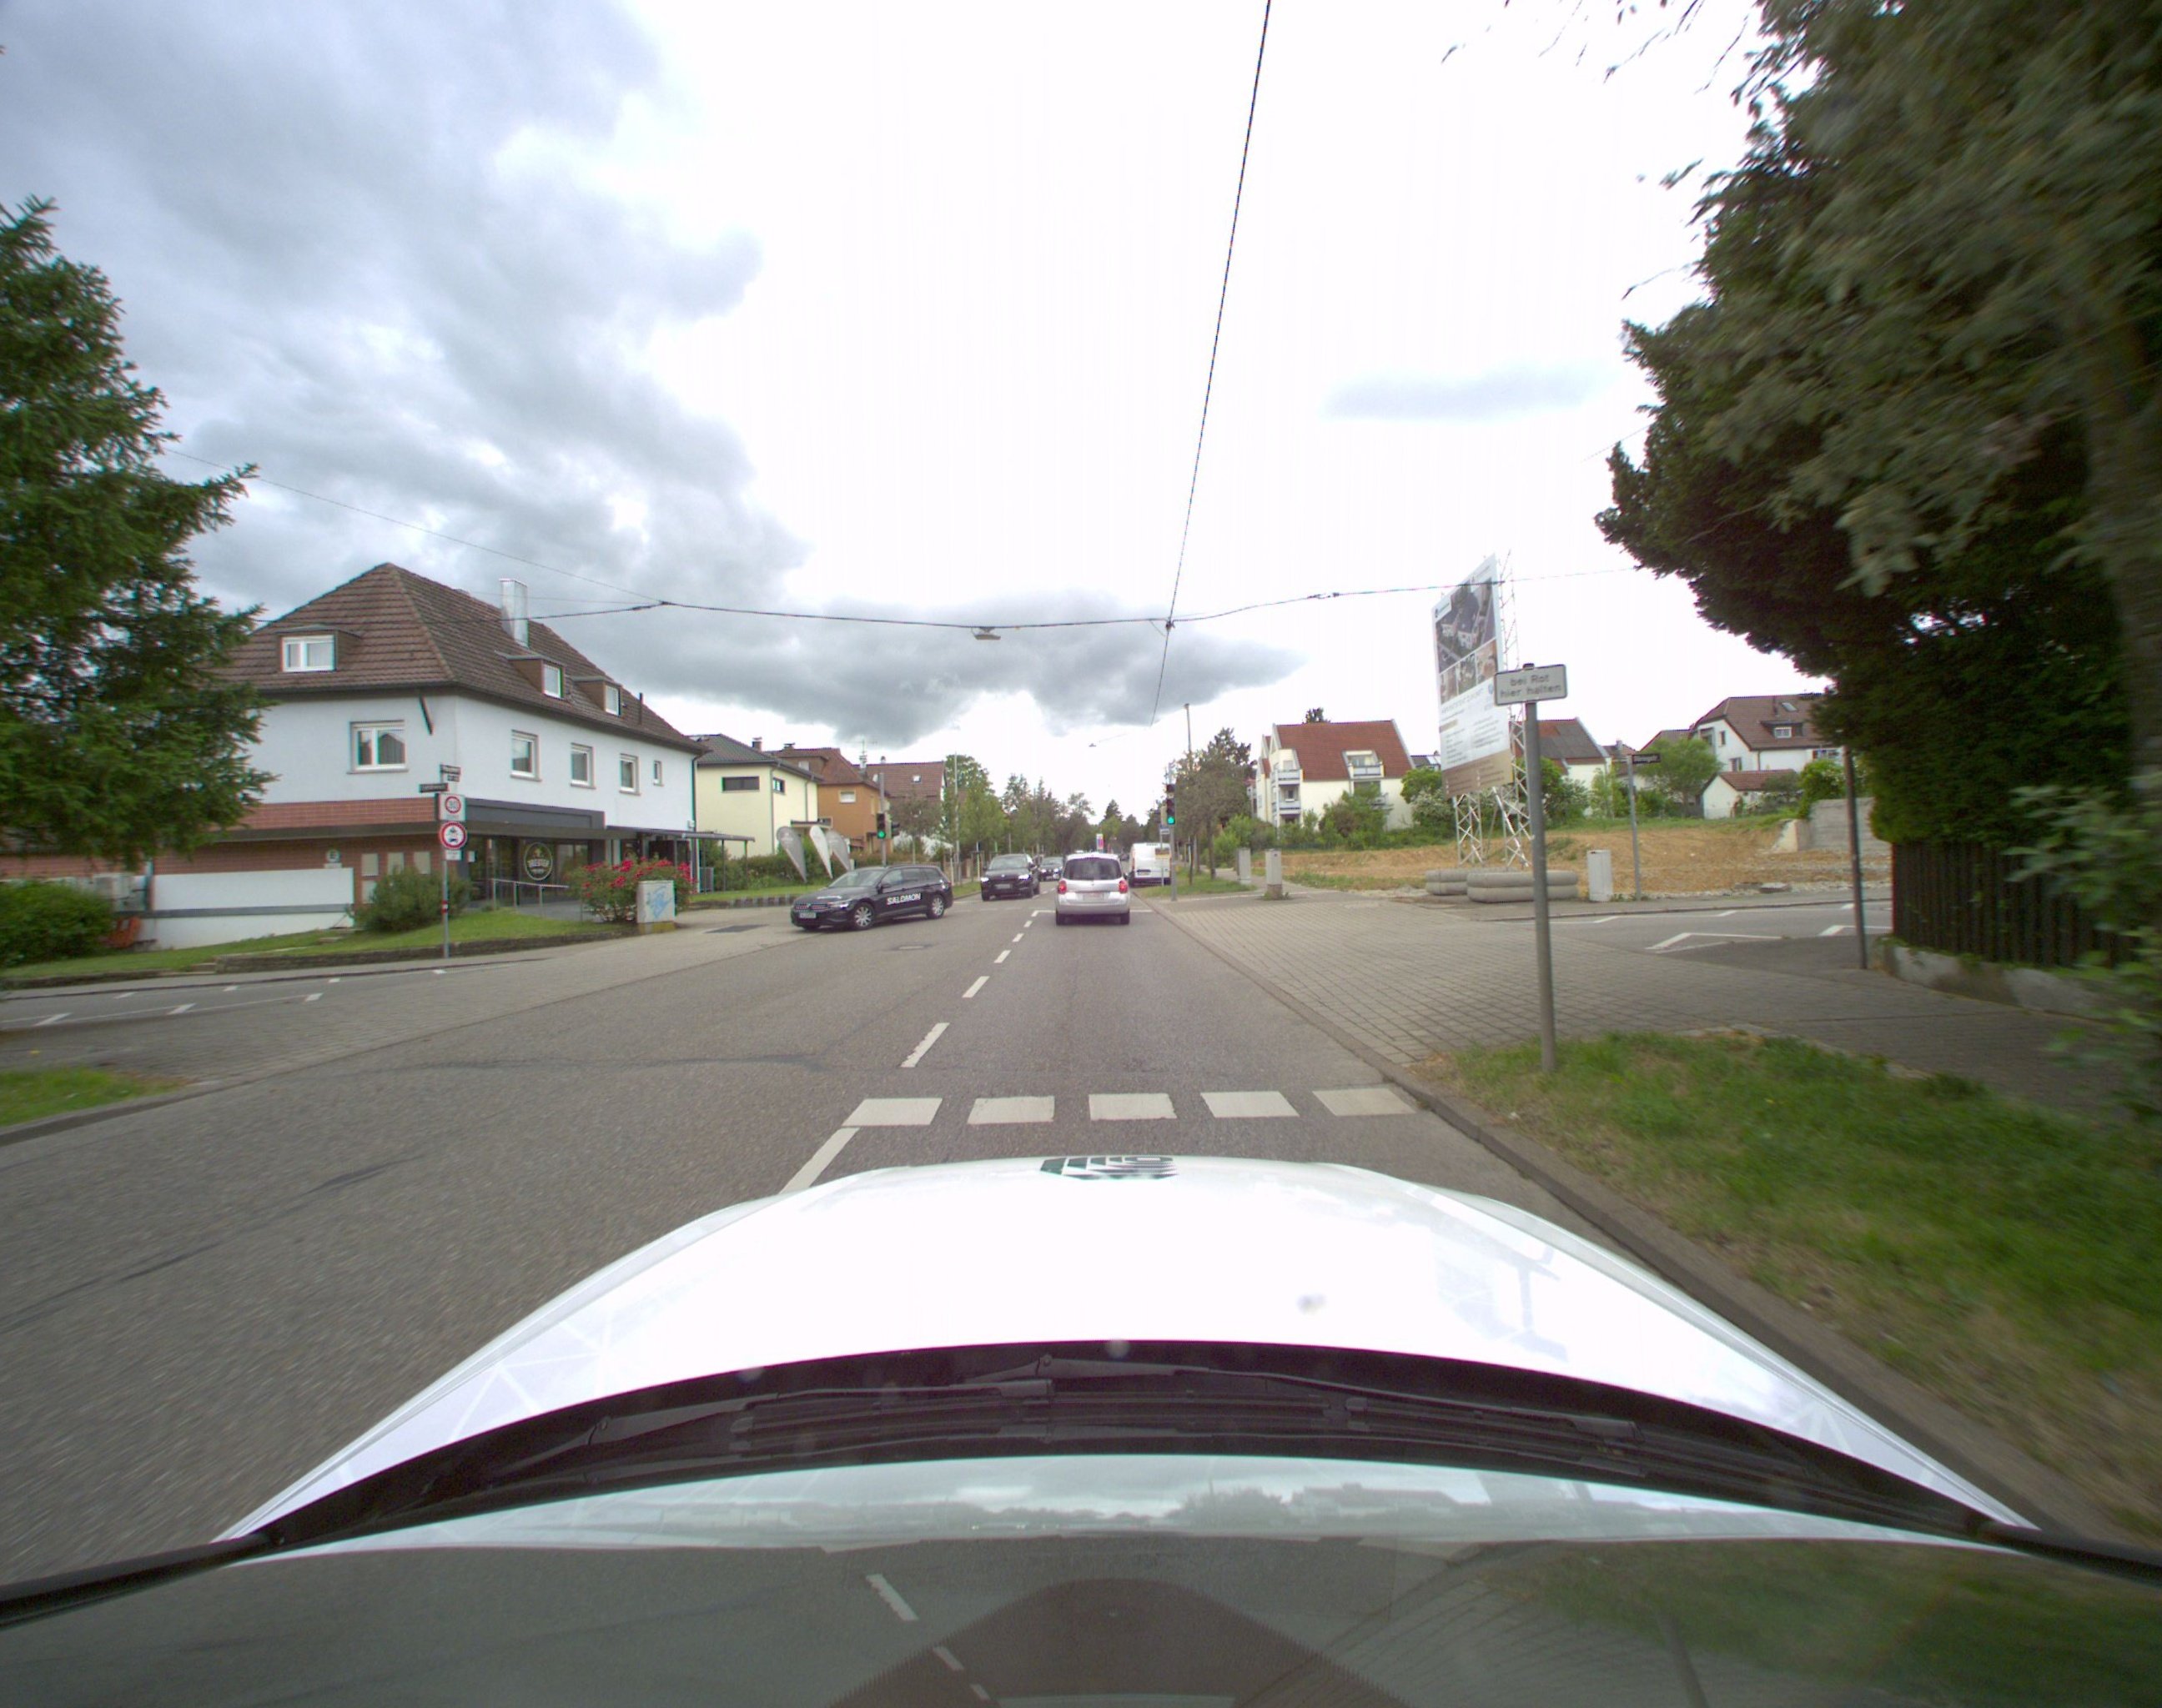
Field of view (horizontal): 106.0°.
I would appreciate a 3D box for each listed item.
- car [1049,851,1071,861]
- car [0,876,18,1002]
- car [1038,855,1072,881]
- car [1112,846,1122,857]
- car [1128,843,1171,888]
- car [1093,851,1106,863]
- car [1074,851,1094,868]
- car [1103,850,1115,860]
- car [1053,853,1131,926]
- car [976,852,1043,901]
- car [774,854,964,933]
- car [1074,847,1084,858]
[{"bbox_3d":[-3.920,0.376,152.826,4.070,1.706,1.749,-2,0,3],"label":"car"},{"bbox_3d":[-24.784,1.911,15.720,5.587,2.563,2.130,-4,-1,0],"label":"car"},{"bbox_3d":[-1.587,0.833,50.336,1.608,1.472,4.005,-2,0,5],"label":"car"},{"bbox_3d":[10.069,-0.712,228.532,2.276,2.911,5.274,-1,0,-3],"label":"car"},{"bbox_3d":[3.135,0.489,38.141,1.768,1.943,4.791,-1,0,2],"label":"car"},{"bbox_3d":[2.879,0.398,127.636,1.787,1.752,4.303,-3,0,4],"label":"car"},{"bbox_3d":[0.329,0.552,86.222,1.806,1.692,4.469,-4,0,3],"label":"car"},{"bbox_3d":[5.057,0.224,148.727,1.830,1.713,3.998,-4,0,-1],"label":"car"},{"bbox_3d":[0.333,0.758,19.196,1.672,1.560,3.515,0,0,3],"label":"car"},{"bbox_3d":[-2.568,0.784,30.241,1.888,1.624,4.003,-2,0,2],"label":"car"},{"bbox_3d":[-5.072,0.907,20.264,1.975,1.620,4.675,-3,0,25],"label":"car"},{"bbox_3d":[-0.481,-0.398,197.804,2.065,2.582,5.303,-4,0,2],"label":"car"}]
